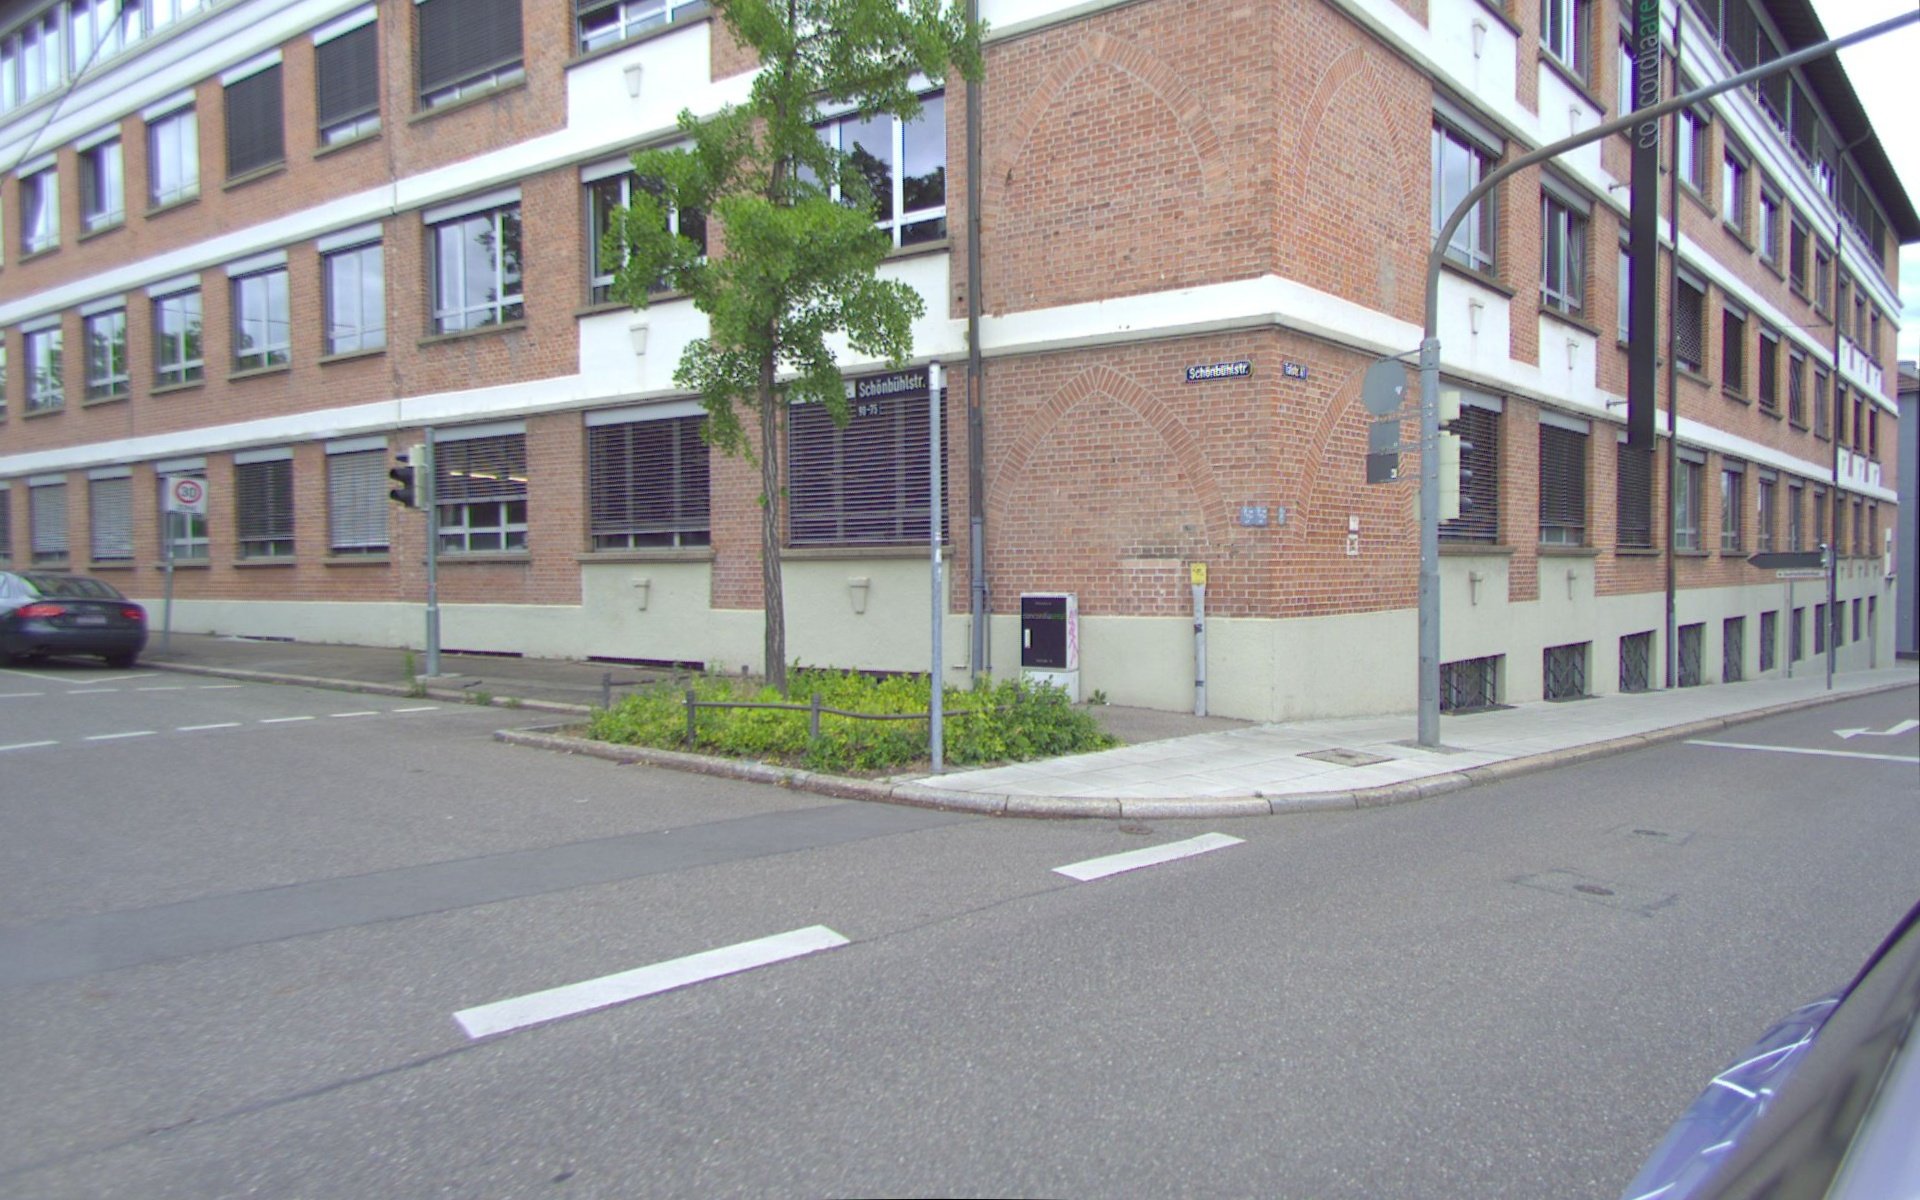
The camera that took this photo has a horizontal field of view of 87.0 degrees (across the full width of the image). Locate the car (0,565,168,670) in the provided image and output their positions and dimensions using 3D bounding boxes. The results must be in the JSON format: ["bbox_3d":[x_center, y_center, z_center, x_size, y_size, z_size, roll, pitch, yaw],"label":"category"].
[{"bbox_3d":[-14.482,0.218,15.704,4.379,1.423,1.755,2,-2,28],"label":"car"}]

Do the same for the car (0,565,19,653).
[{"bbox_3d":[-18.975,0.065,18.082,4.356,1.529,1.755,2,-2,28],"label":"car"}]
